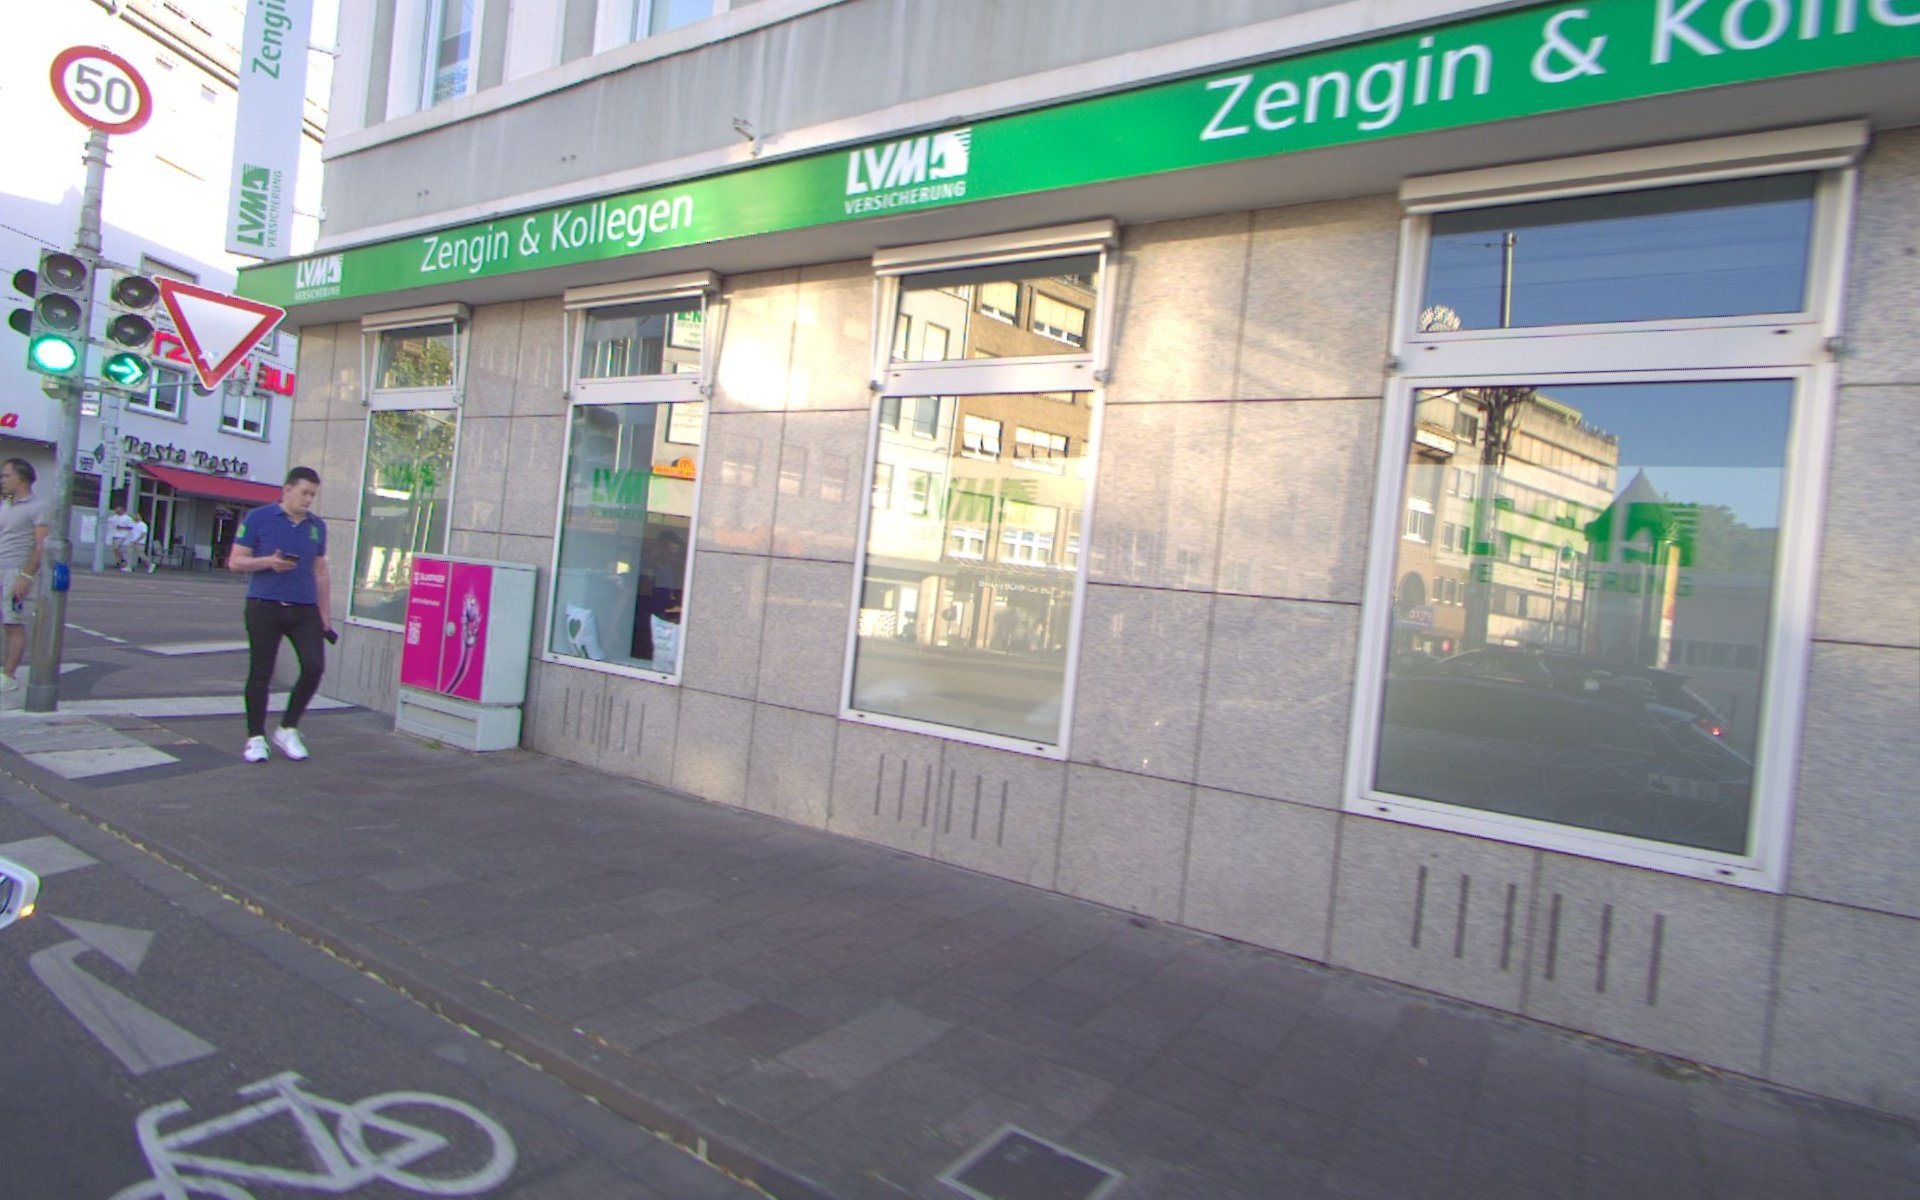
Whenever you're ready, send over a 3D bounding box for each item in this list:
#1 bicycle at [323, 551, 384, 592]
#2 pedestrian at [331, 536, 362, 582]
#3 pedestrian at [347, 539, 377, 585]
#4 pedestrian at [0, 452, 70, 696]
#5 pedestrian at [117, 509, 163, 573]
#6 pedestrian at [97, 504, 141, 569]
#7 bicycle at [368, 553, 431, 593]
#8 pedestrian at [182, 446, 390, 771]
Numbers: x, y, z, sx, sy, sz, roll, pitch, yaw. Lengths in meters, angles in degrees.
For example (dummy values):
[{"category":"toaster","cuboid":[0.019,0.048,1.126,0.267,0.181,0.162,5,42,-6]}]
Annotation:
[{"category":"bicycle","cuboid":[-22.209,-1.042,36.825,1.861,1.226,0.553,8,0,9]},{"category":"pedestrian","cuboid":[-24.115,-1.600,39.561,0.671,1.682,0.624,7,1,8]},{"category":"pedestrian","cuboid":[-23.377,-1.481,39.328,0.610,1.721,0.602,7,1,8]},{"category":"pedestrian","cuboid":[-7.247,-0.208,7.477,0.682,1.764,0.652,6,0,31]},{"category":"pedestrian","cuboid":[-24.123,-1.716,29.608,0.626,1.766,0.669,6,0,15]},{"category":"pedestrian","cuboid":[-24.818,-1.868,29.680,0.626,1.801,0.600,6,0,14]},{"category":"bicycle","cuboid":[-21.191,-1.022,38.039,2.078,1.239,0.553,6,0,9]},{"category":"pedestrian","cuboid":[-4.177,0.038,6.237,0.866,1.851,0.690,6,1,35]}]
